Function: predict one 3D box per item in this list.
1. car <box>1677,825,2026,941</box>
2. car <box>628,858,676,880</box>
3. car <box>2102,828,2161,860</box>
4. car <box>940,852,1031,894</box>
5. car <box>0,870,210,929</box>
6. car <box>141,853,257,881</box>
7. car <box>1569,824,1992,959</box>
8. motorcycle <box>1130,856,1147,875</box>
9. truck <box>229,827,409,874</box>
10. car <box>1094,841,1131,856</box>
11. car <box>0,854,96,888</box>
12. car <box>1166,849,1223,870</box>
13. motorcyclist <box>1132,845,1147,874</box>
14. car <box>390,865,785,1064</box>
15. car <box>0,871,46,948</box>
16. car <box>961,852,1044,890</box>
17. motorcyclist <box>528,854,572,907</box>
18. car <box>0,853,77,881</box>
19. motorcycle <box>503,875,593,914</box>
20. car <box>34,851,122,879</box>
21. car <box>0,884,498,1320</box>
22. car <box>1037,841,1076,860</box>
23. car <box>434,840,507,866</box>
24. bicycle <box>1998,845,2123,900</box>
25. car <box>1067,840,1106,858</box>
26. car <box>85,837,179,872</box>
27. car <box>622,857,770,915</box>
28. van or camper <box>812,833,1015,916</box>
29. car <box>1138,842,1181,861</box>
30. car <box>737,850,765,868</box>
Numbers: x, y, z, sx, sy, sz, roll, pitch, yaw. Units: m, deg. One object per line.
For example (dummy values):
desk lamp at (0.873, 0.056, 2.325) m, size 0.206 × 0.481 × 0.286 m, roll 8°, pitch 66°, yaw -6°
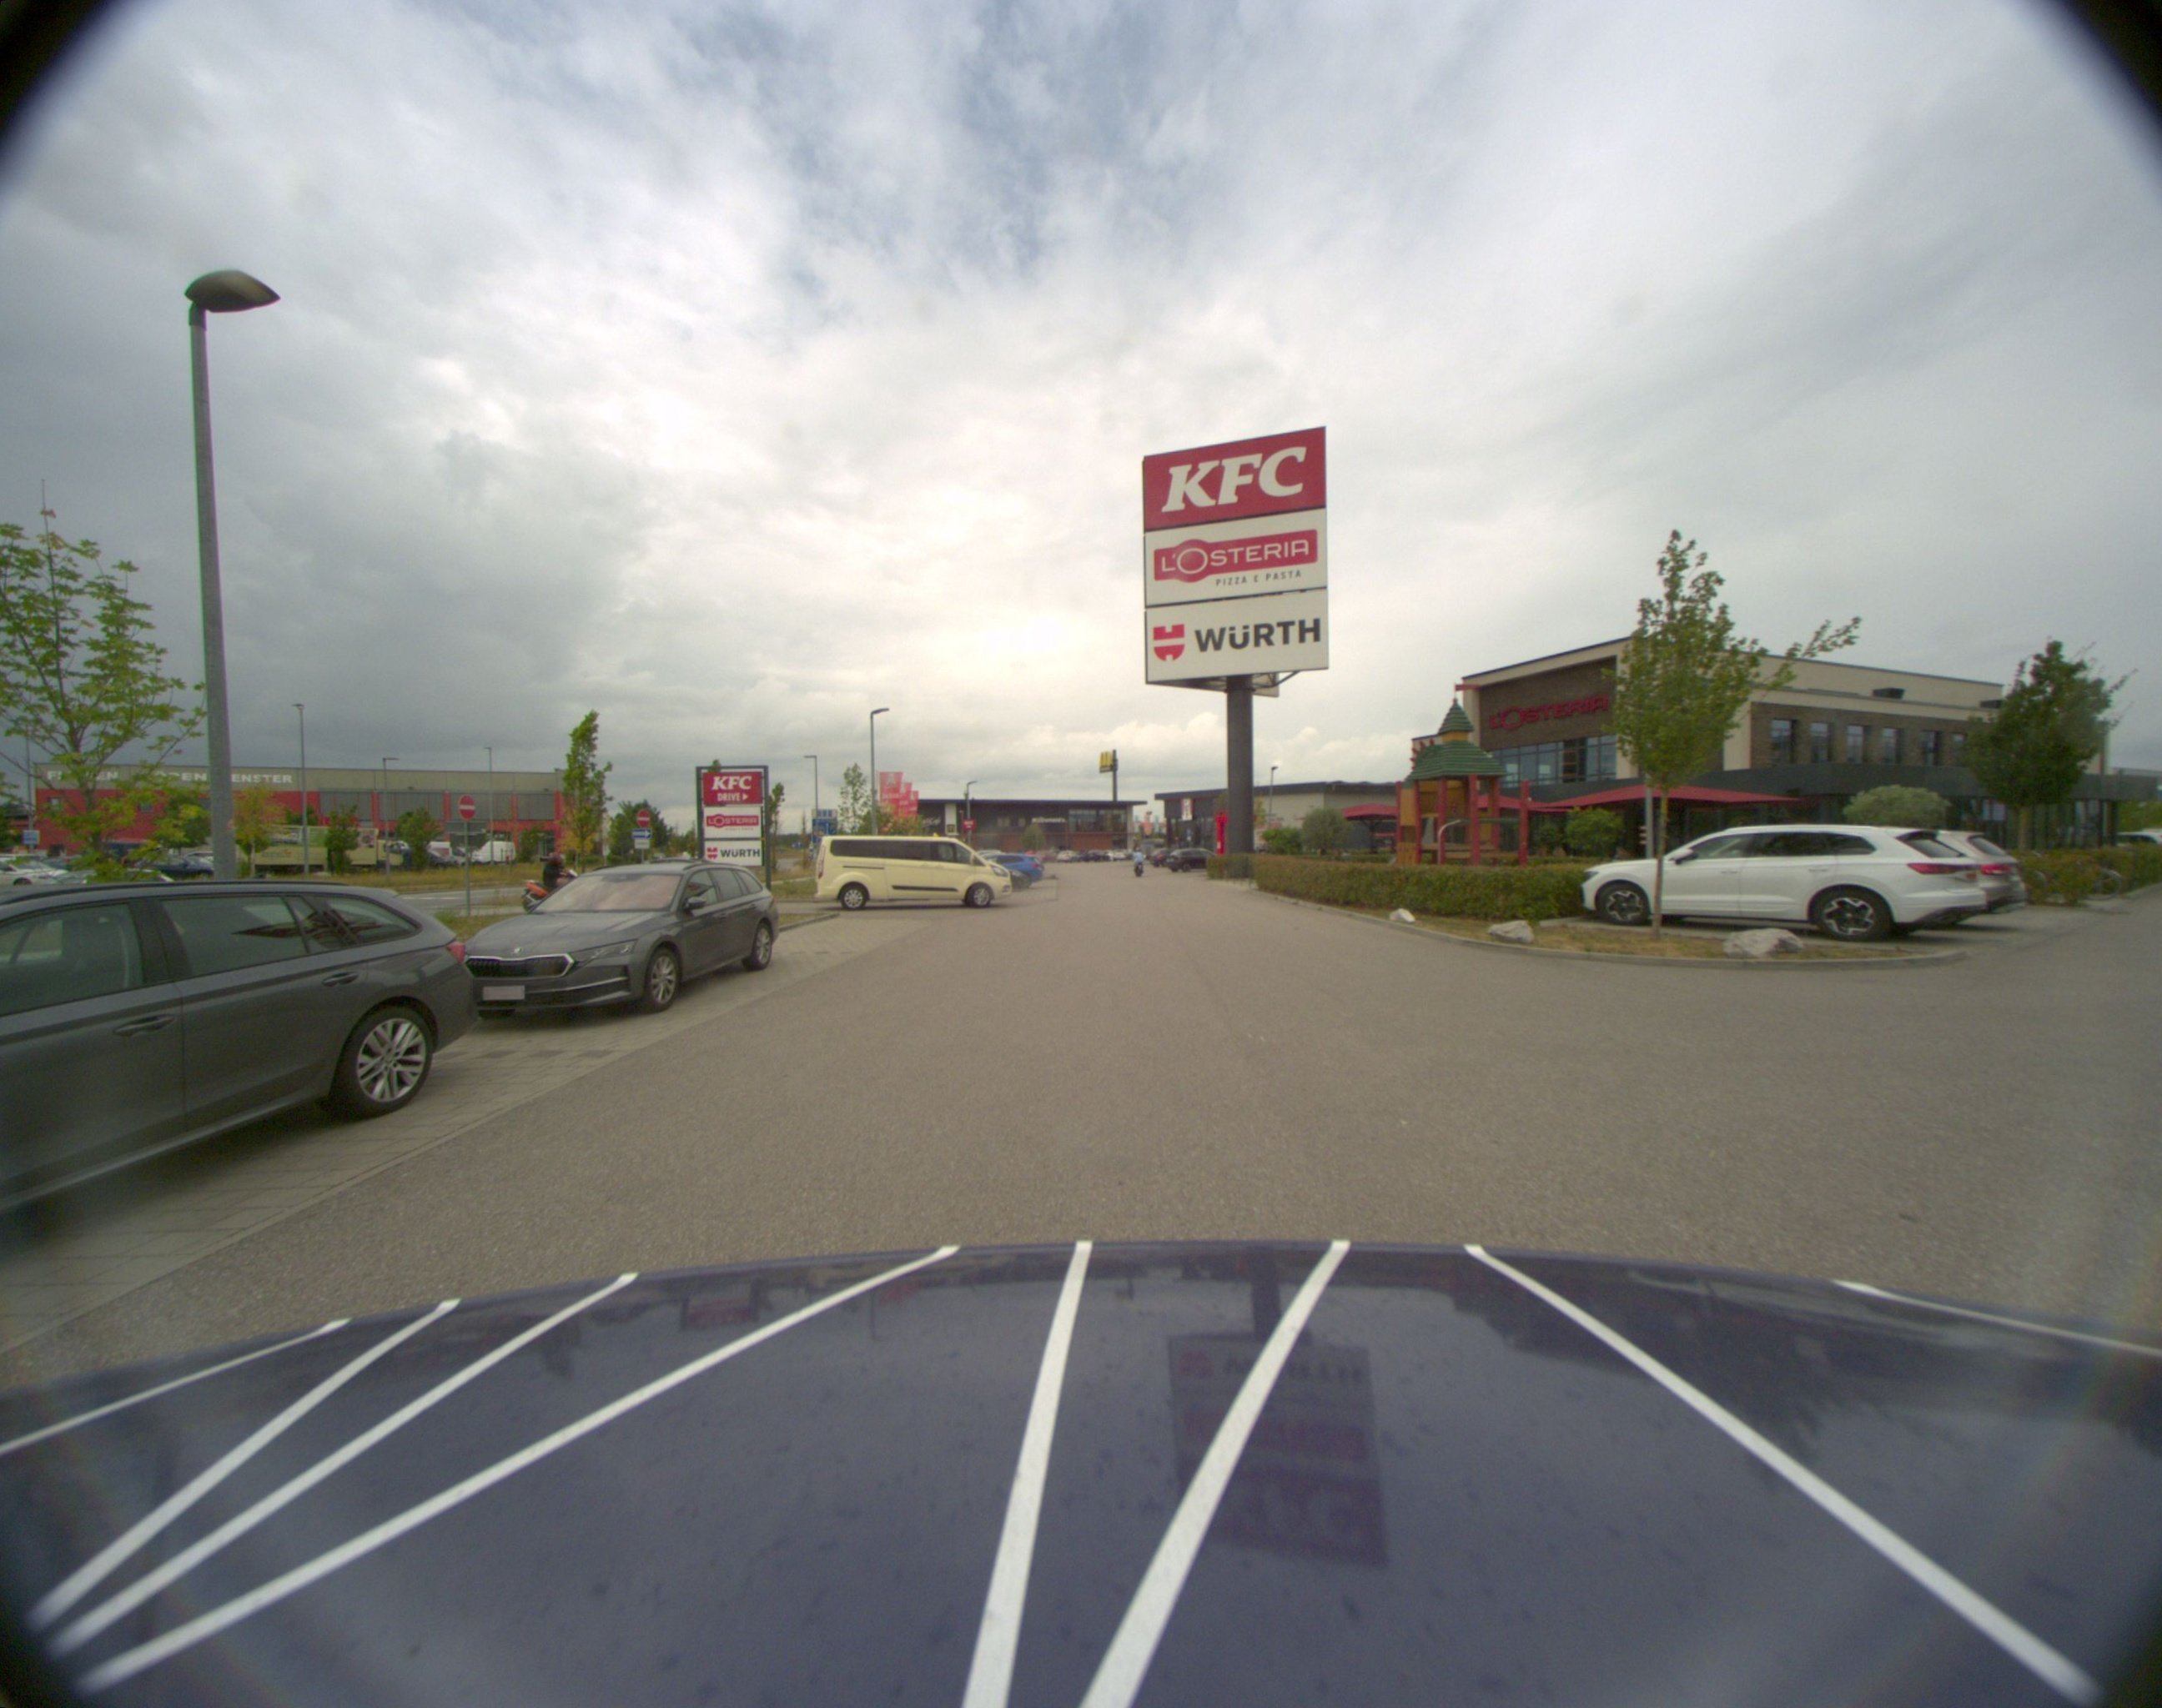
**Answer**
car at (13.400, 0.409, 13.507) m, size 1.913 × 1.696 × 3.991 m, roll -2°, pitch 1°, yaw -29°
car at (-32.607, 1.106, 57.880) m, size 1.759 × 1.472 × 4.527 m, roll -2°, pitch 1°, yaw -12°
car at (47.835, -0.453, 33.263) m, size 1.779 × 1.336 × 3.701 m, roll -3°, pitch 1°, yaw -38°
car at (-3.883, 0.747, 31.277) m, size 3.525 × 1.540 × 1.700 m, roll -2°, pitch 1°, yaw -2°
car at (-29.697, 1.310, 23.055) m, size 1.757 × 1.472 × 4.055 m, roll -2°, pitch 1°, yaw 0°
car at (-49.312, 0.718, 42.589) m, size 3.845 × 1.420 × 1.739 m, roll -1°, pitch 1°, yaw -19°
car at (10.890, 0.473, 12.332) m, size 1.761 × 1.738 × 4.731 m, roll -2°, pitch 1°, yaw -29°
motorcycle at (3.373, 0.677, 44.893) m, size 0.816 × 1.069 × 2.149 m, roll -1°, pitch 1°, yaw -1°
truck at (-51.153, -0.310, 51.430) m, size 2.674 × 2.929 × 8.192 m, roll 0°, pitch 2°, yaw 18°
car at (3.840, -0.693, 92.787) m, size 3.989 × 1.652 × 2.003 m, roll -1°, pitch 1°, yaw 29°
car at (-49.055, 0.818, 35.121) m, size 3.999 × 1.434 × 1.998 m, roll -2°, pitch 1°, yaw -7°
car at (7.620, 0.338, 51.192) m, size 3.445 × 1.288 × 1.497 m, roll -2°, pitch 1°, yaw -16°
motorcyclist at (3.452, 0.323, 44.817) m, size 0.754 × 1.629 × 1.038 m, roll -2°, pitch 1°, yaw -1°
car at (-5.025, 0.965, 8.670) m, size 1.752 × 1.482 × 4.485 m, roll -2°, pitch 1°, yaw -4°
car at (-22.413, 1.146, 13.559) m, size 1.999 × 1.506 × 4.367 m, roll -1°, pitch 1°, yaw -4°
car at (-3.443, 0.743, 33.629) m, size 3.440 × 1.534 × 1.684 m, roll -2°, pitch 1°, yaw 0°
motorcyclist at (-13.595, 0.669, 19.454) m, size 0.673 × 1.308 × 0.575 m, roll -1°, pitch 1°, yaw -3°
car at (-67.732, 0.787, 49.088) m, size 1.765 × 1.644 × 3.828 m, roll -2°, pitch 2°, yaw -23°
motorcycle at (-13.644, 1.034, 19.472) m, size 1.868 × 0.911 × 0.556 m, roll -1°, pitch 1°, yaw -2°
car at (-65.695, 0.705, 49.882) m, size 1.765 × 1.644 × 3.828 m, roll -2°, pitch 2°, yaw -23°
car at (-4.945, 1.016, 3.089) m, size 1.752 × 1.482 × 4.630 m, roll -2°, pitch 1°, yaw -4°
car at (-2.831, -0.413, 88.176) m, size 3.989 × 2.002 × 2.003 m, roll -1°, pitch 1°, yaw 29°
car at (-52.715, -0.083, 65.744) m, size 4.443 × 2.110 × 1.996 m, roll -2°, pitch 1°, yaw -21°
bicycle at (23.116, 0.416, 17.974) m, size 0.695 × 1.212 × 1.796 m, roll -3°, pitch 2°, yaw -37°
car at (0.649, -0.544, 89.687) m, size 3.989 × 2.002 × 2.003 m, roll -1°, pitch 1°, yaw 29°
car at (-62.921, -0.006, 50.478) m, size 2.028 × 2.193 × 4.339 m, roll -2°, pitch 2°, yaw -23°
car at (-10.127, 0.822, 20.133) m, size 3.123 × 1.439 × 1.506 m, roll 0°, pitch 1°, yaw 0°
van or camper at (-4.601, 0.508, 21.101) m, size 5.237 × 2.049 × 1.857 m, roll -2°, pitch 1°, yaw -15°
car at (8.201, -0.313, 79.431) m, size 4.002 × 1.827 × 1.997 m, roll -2°, pitch 1°, yaw -15°
car at (-34.236, 0.526, 78.962) m, size 1.908 × 1.804 × 3.995 m, roll -1°, pitch 1°, yaw -12°
